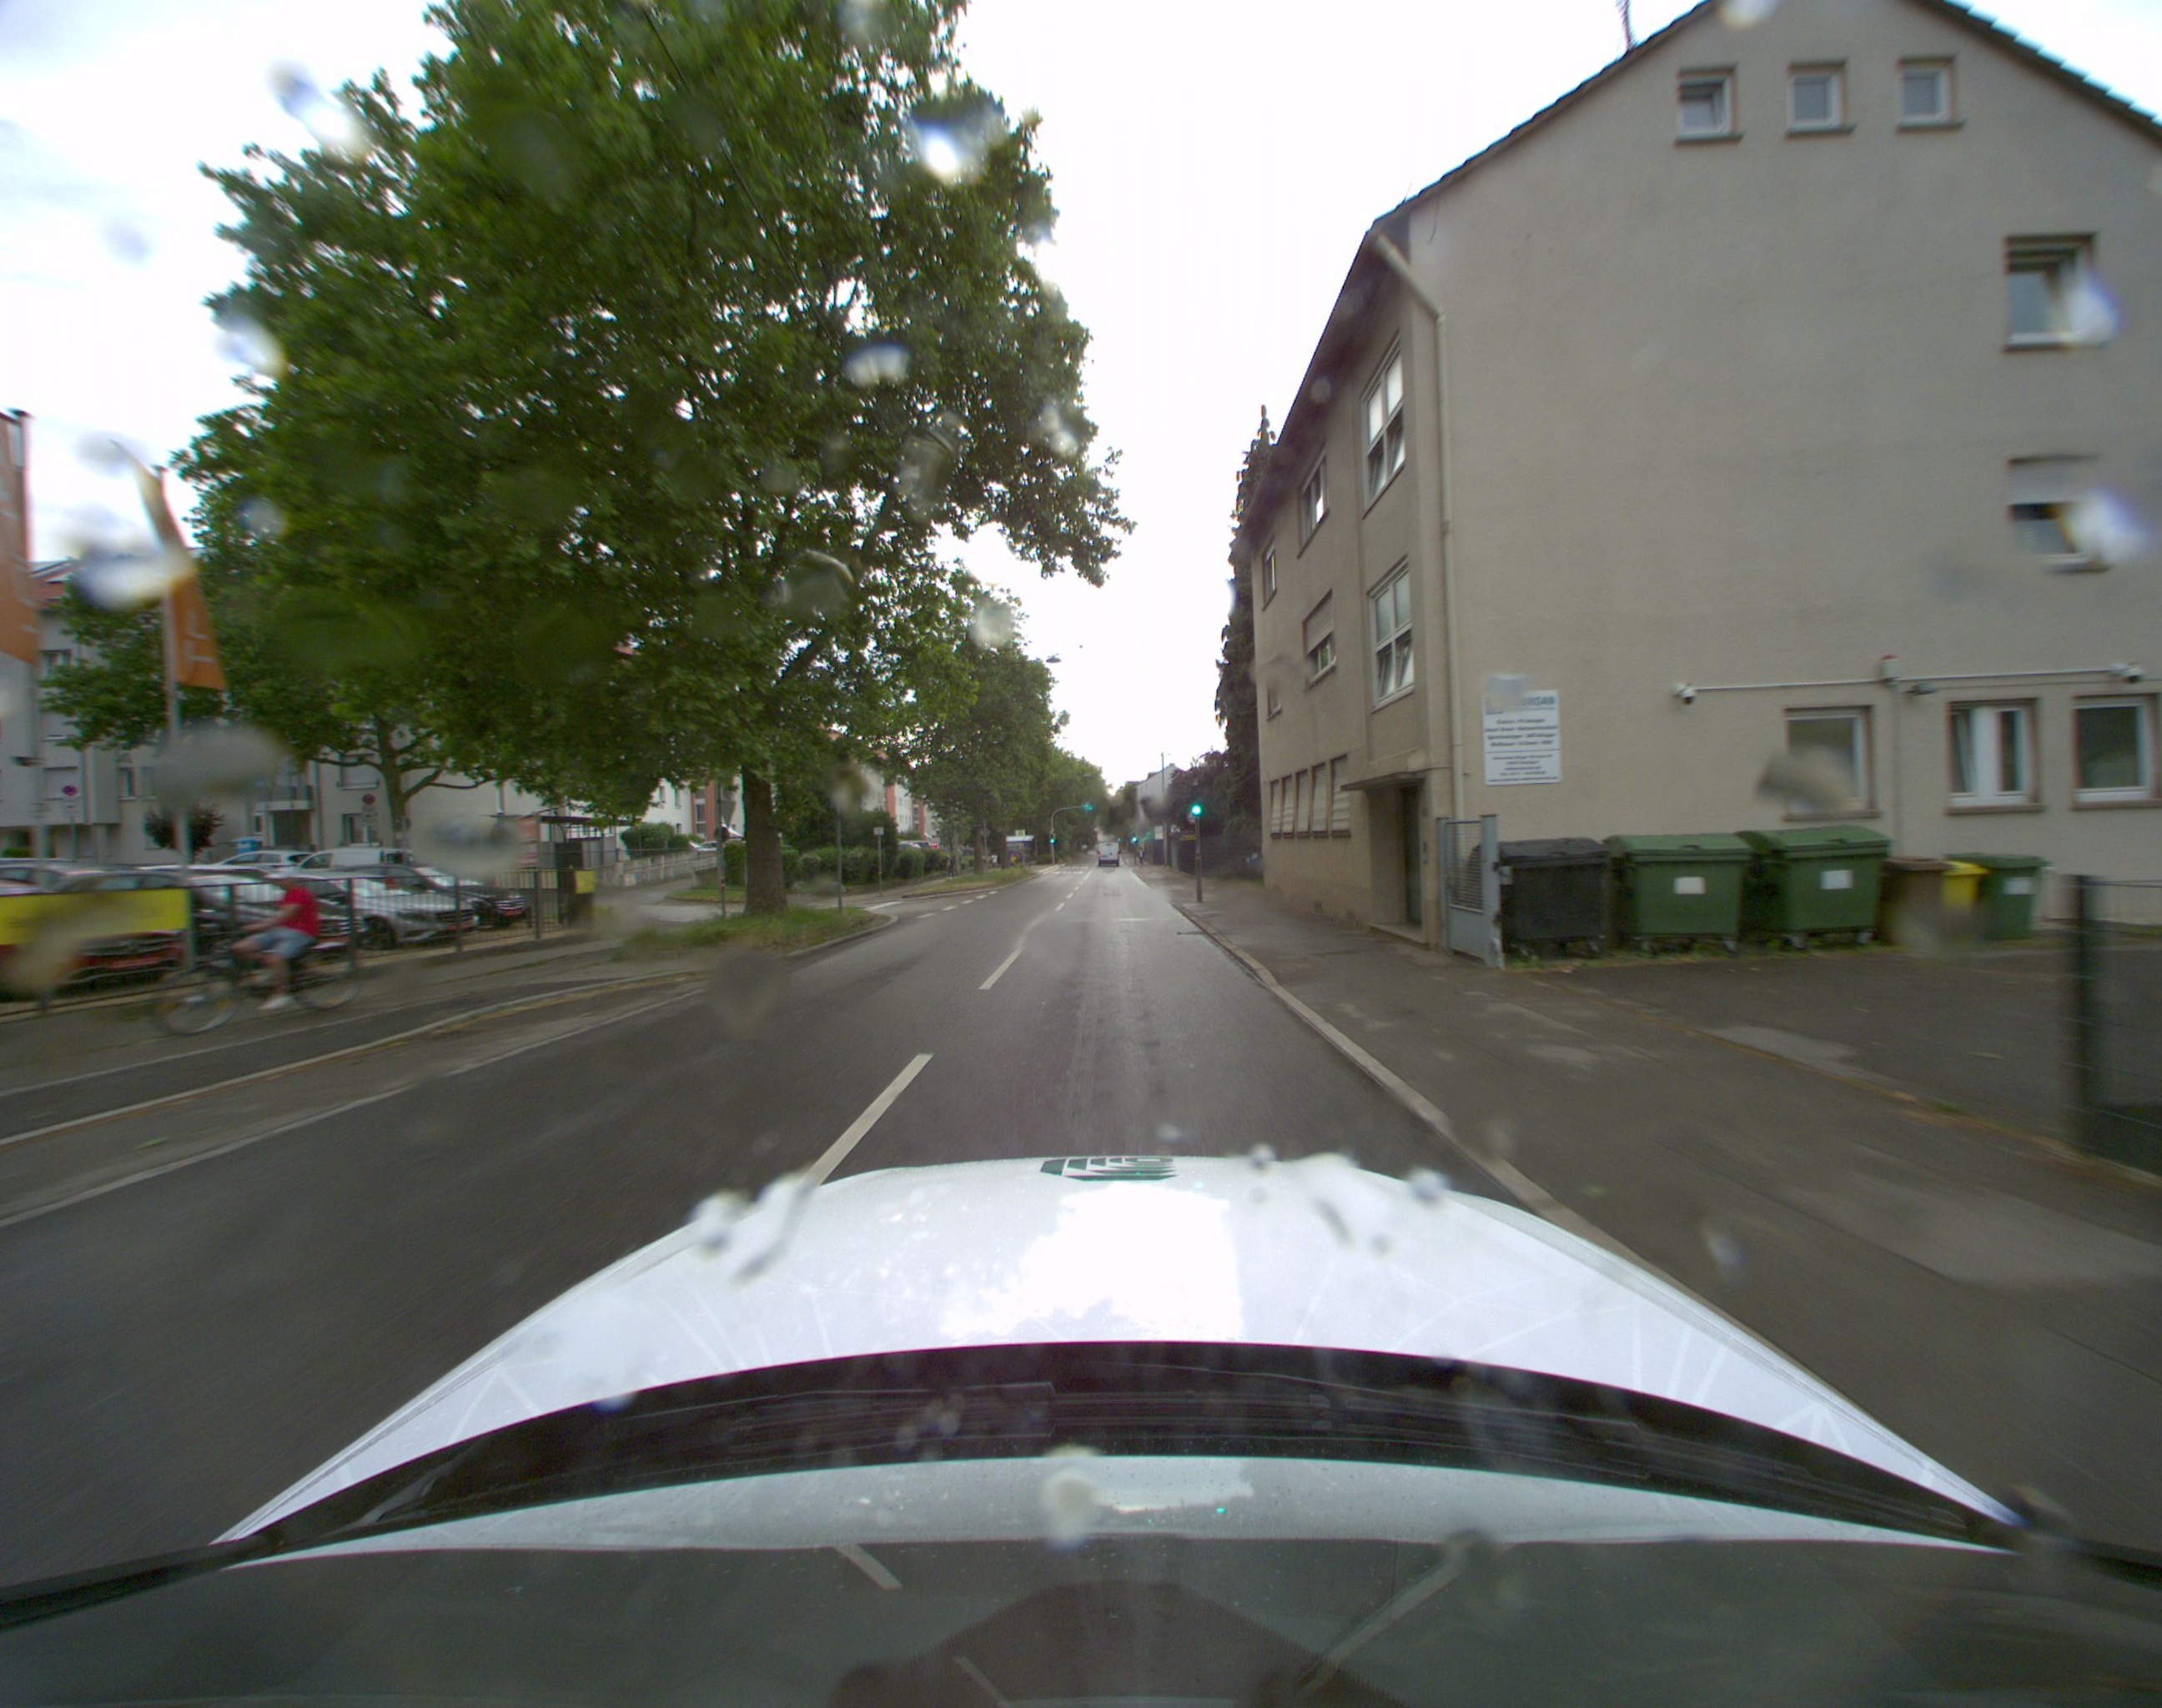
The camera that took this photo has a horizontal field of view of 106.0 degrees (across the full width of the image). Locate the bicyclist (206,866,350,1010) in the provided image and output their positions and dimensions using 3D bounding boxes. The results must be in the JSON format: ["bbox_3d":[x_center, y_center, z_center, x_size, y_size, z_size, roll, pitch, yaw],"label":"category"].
[{"bbox_3d":[-9.142,0.922,9.301,0.827,1.553,0.819,0,-1,11],"label":"bicyclist"}]

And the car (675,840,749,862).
[{"bbox_3d":[-24.005,-0.181,53.071,3.969,1.415,1.850,0,-1,4],"label":"car"}]

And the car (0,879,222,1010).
[{"bbox_3d":[-14.443,1.125,10.835,4.080,1.498,1.960,0,0,3],"label":"car"}]

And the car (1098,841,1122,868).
[{"bbox_3d":[2.856,0.085,80.230,2.274,2.553,4.002,-1,-1,2],"label":"car"}]

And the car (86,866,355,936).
[{"bbox_3d":[-20.090,1.060,19.169,4.153,1.497,2.000,-1,-1,0],"label":"car"}]

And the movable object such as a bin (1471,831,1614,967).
[{"bbox_3d":[5.621,0.533,10.001,1.106,1.509,0.987,-4,-1,1],"label":"movable object such as a bin"}]

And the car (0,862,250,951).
[{"bbox_3d":[-19.989,1.033,16.615,3.973,1.653,2.000,-1,-1,0],"label":"car"}]

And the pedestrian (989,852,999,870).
[{"bbox_3d":[-7.909,0.664,74.056,0.738,1.598,0.607,-5,-2,5],"label":"pedestrian"}]

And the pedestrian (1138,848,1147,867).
[{"bbox_3d":[5.782,0.336,76.953,0.741,1.704,0.900,0,-1,-4],"label":"pedestrian"}]

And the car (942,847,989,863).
[{"bbox_3d":[-12.030,0.101,84.810,4.529,1.672,2.000,0,-1,0],"label":"car"}]

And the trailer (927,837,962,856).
[{"bbox_3d":[-11.913,-0.645,71.166,2.693,1.645,1.481,0,0,2],"label":"trailer"}]

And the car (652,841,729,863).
[{"bbox_3d":[-24.357,-0.114,50.850,3.969,1.318,1.746,0,-1,4],"label":"car"}]

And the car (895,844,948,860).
[{"bbox_3d":[-13.499,-0.142,69.094,4.073,1.303,1.810,0,-1,1],"label":"car"}]

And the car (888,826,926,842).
[{"bbox_3d":[-19.161,-2.217,89.585,3.828,1.602,1.704,0,-1,-25],"label":"car"}]

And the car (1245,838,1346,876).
[{"bbox_3d":[12.856,0.164,49.025,5.549,2.211,2.000,0,0,0],"label":"car"}]

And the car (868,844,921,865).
[{"bbox_3d":[-14.121,0.056,61.806,3.643,1.498,1.896,0,-1,-2],"label":"car"}]

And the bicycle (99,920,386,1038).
[{"bbox_3d":[-9.149,1.308,9.073,0.551,0.996,2.273,0,-1,11],"label":"bicycle"}]

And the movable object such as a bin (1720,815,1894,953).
[{"bbox_3d":[8.729,0.353,9.856,1.106,1.509,1.010,-4,-1,1],"label":"movable object such as a bin"}]

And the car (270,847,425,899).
[{"bbox_3d":[-26.934,0.696,29.999,3.972,1.779,1.880,1,-1,1],"label":"car"}]

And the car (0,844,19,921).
[{"bbox_3d":[-25.741,0.621,17.322,3.969,1.684,1.888,0,-1,3],"label":"car"}]

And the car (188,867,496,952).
[{"bbox_3d":[-14.415,1.045,16.093,4.193,1.539,1.982,0,-1,0],"label":"car"}]

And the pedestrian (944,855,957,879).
[{"bbox_3d":[-8.949,0.873,55.813,0.753,1.611,0.834,0,-1,-3],"label":"pedestrian"}]

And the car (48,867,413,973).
[{"bbox_3d":[-14.063,1.048,13.640,4.186,1.538,2.003,-1,0,5],"label":"car"}]

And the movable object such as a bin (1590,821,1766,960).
[{"bbox_3d":[7.189,0.430,9.889,1.229,1.509,1.111,-4,-1,1],"label":"movable object such as a bin"}]

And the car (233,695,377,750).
[{"bbox_3d":[-31.877,-5.395,33.547,3.972,1.779,1.879,1,-5,1],"label":"car"}]
